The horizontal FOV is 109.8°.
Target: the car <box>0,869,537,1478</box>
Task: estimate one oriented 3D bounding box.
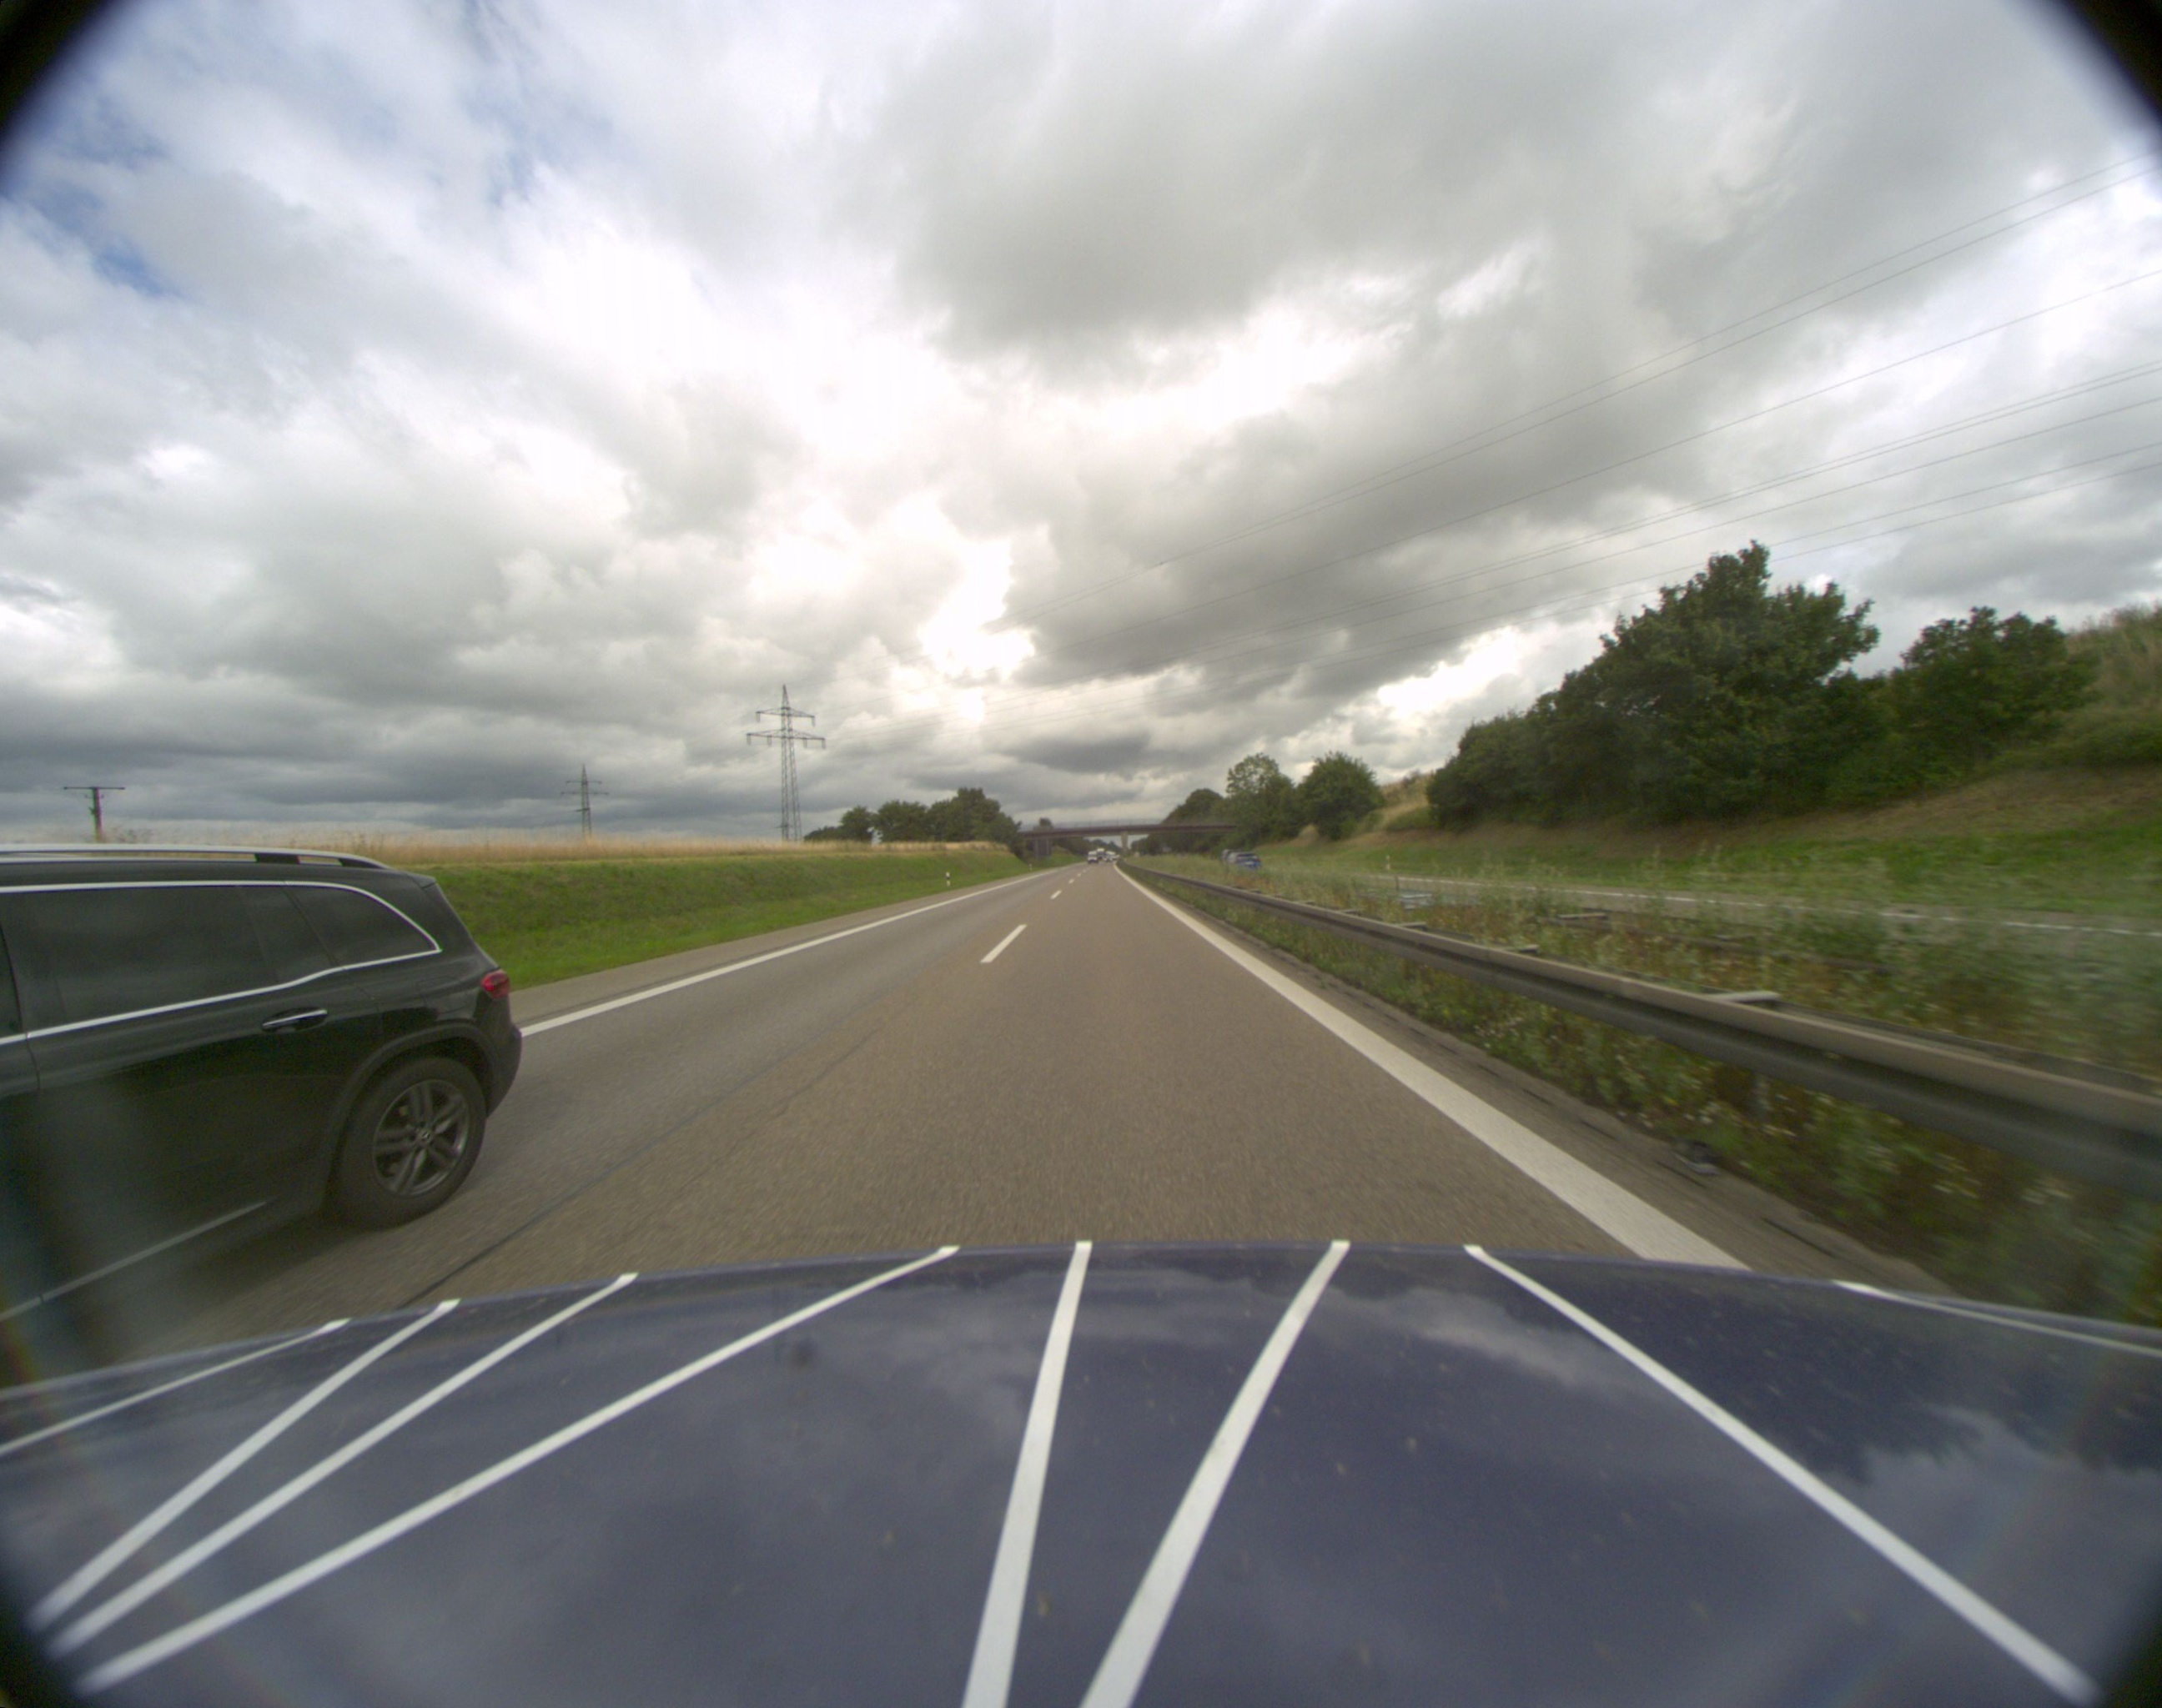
[{"bbox_3d":[-3.890,0.929,1.849,1.838,1.600,4.360,-2,1,2],"label":"car"}]

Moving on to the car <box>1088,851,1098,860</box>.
[{"bbox_3d":[2.493,0.250,161.315,1.998,1.812,4.342,-2,0,0],"label":"car"}]

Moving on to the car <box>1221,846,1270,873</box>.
[{"bbox_3d":[9.751,0.301,45.441,1.998,1.448,4.443,-2,1,1],"label":"car"}]

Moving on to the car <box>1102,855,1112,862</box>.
[{"bbox_3d":[6.394,1.147,187.228,1.998,1.695,4.662,-4,-1,0],"label":"car"}]

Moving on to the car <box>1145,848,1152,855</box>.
[{"bbox_3d":[20.337,-0.911,229.602,1.998,2.002,4.000,-2,1,2],"label":"car"}]

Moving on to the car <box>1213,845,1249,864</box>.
[{"bbox_3d":[13.110,0.013,66.659,1.933,1.566,5.621,-3,1,-1],"label":"car"}]

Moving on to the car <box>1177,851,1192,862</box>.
[{"bbox_3d":[15.612,0.354,114.560,1.751,1.445,3.999,-2,1,1],"label":"car"}]

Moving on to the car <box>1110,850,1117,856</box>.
[{"bbox_3d":[10.514,-0.362,246.772,1.999,1.698,3.999,-2,0,-1],"label":"car"}]
